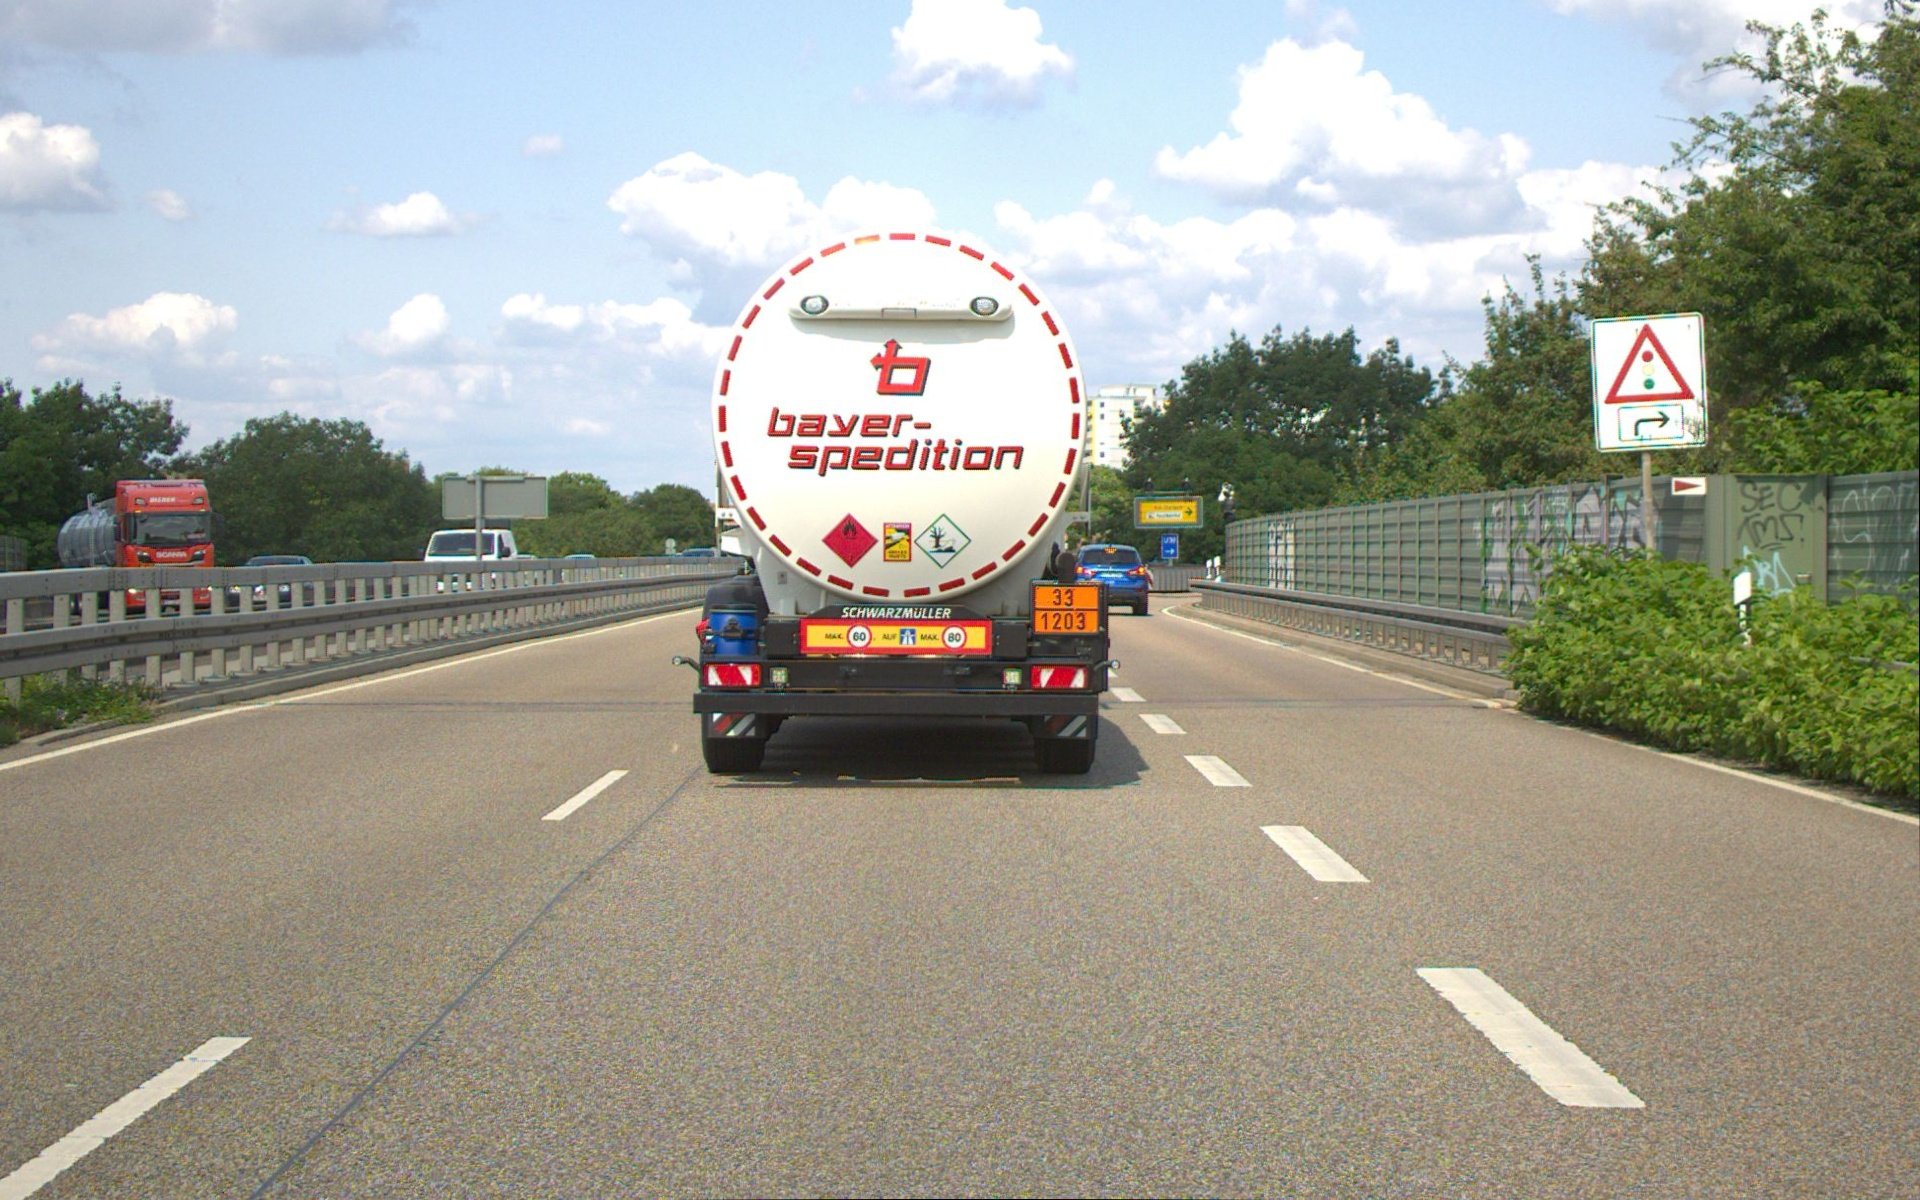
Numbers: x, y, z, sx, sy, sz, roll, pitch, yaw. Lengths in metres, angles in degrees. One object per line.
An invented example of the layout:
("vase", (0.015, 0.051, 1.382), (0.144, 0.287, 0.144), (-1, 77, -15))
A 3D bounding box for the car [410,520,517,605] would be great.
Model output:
("car", (-12.240, -0.921, 85.078), (2.079, 1.982, 5.230), (1, 1, -3))

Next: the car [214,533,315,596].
("car", (-16.580, -0.848, 82.149), (1.688, 1.426, 4.403), (1, 1, -3))

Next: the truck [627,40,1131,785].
("truck", (-0.507, -1.152, 24.416), (2.895, 4.354, 8.030), (1, 1, 0))

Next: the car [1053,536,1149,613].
("car", (3.233, -0.603, 79.728), (1.993, 1.700, 4.000), (1, 1, 0))

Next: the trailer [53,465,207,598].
("trailer", (-24.702, -2.021, 101.942), (2.684, 3.657, 11.032), (1, 1, -22))

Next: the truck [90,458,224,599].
("truck", (-22.688, -2.001, 96.912), (2.647, 3.769, 6.234), (1, 1, -22))
